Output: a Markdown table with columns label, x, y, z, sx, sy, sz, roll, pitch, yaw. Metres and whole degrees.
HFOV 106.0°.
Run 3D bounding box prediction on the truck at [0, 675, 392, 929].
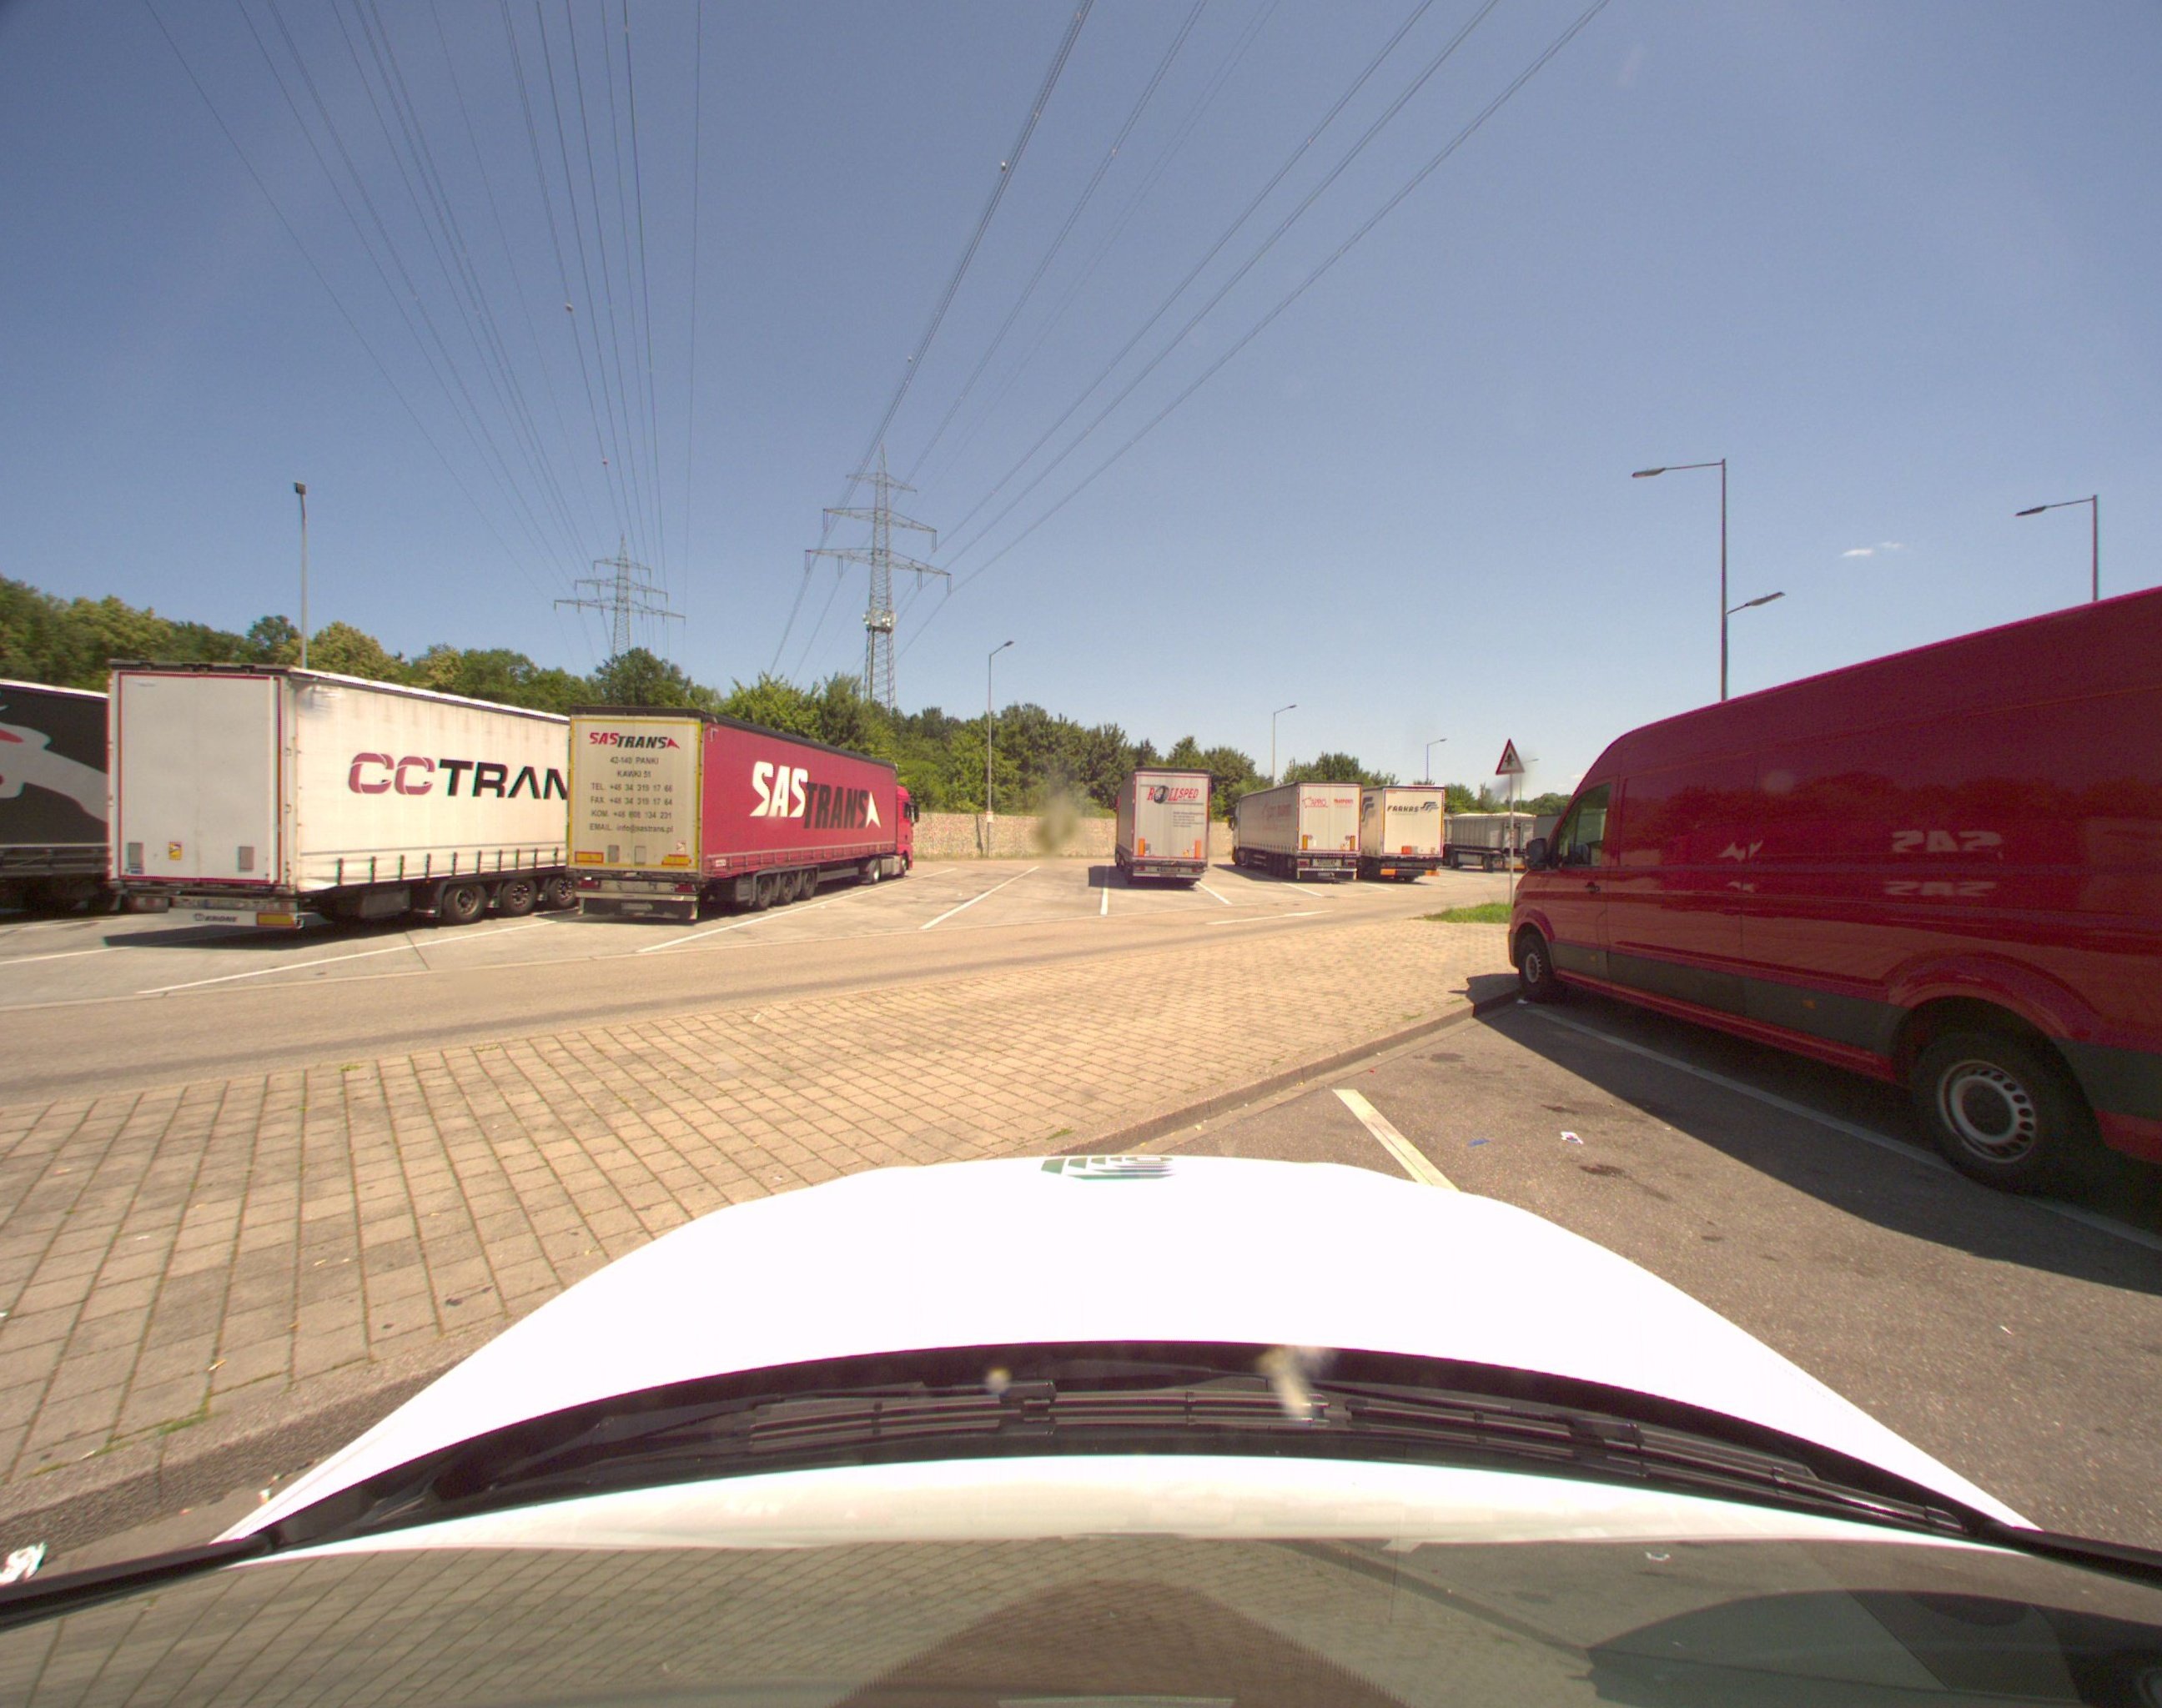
| label | x | y | z | sx | sy | sz | roll | pitch | yaw |
| --- | --- | --- | --- | --- | --- | --- | --- | --- | --- |
| truck | -18.555 | -0.938 | 15.837 | 2.696 | 4.070 | 8.694 | 1 | 2 | 2 |

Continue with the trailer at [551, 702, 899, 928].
| label | x | y | z | sx | sy | sz | roll | pitch | yaw |
| --- | --- | --- | --- | --- | --- | --- | --- | --- | --- |
| trailer | -8.052 | -0.928 | 21.734 | 2.811 | 4.070 | 13.770 | 1 | 2 | 2 |

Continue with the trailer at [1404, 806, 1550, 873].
| label | x | y | z | sx | sy | sz | roll | pitch | yaw |
| --- | --- | --- | --- | --- | --- | --- | --- | --- | --- |
| trailer | 24.433 | -1.002 | 51.509 | 2.847 | 3.599 | 13.770 | 1 | 2 | 2 |

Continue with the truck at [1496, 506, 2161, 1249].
| label | x | y | z | sx | sy | sz | roll | pitch | yaw |
| --- | --- | --- | --- | --- | --- | --- | --- | --- | --- |
| truck | 5.137 | 0.080 | 5.461 | 2.001 | 2.651 | 6.466 | -1 | 0 | 6 |

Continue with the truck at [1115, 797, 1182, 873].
| label | x | y | z | sx | sy | sz | roll | pitch | yaw |
| --- | --- | --- | --- | --- | --- | --- | --- | --- | --- |
| truck | 3.132 | -0.944 | 39.420 | 2.855 | 3.362 | 5.977 | 1 | 2 | 2 |

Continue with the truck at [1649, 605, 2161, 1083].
| label | x | y | z | sx | sy | sz | roll | pitch | yaw |
| --- | --- | --- | --- | --- | --- | --- | --- | --- | --- |
| truck | 7.997 | -0.070 | 6.894 | 2.406 | 2.906 | 6.466 | -1 | 0 | 6 |

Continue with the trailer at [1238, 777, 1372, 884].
| label | x | y | z | sx | sy | sz | roll | pitch | yaw |
| --- | --- | --- | --- | --- | --- | --- | --- | --- | --- |
| trailer | 9.973 | -1.125 | 38.309 | 2.847 | 4.109 | 13.770 | 1 | 2 | 2 |

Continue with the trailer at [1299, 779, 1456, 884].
| label | x | y | z | sx | sy | sz | roll | pitch | yaw |
| --- | --- | --- | --- | --- | --- | --- | --- | --- | --- |
| trailer | 13.602 | -1.100 | 39.233 | 2.847 | 4.109 | 13.770 | 1 | 2 | 2 |

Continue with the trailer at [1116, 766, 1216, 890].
| label | x | y | z | sx | sy | sz | roll | pitch | yaw |
| --- | --- | --- | --- | --- | --- | --- | --- | --- | --- |
| trailer | 3.042 | -1.052 | 33.217 | 2.848 | 3.971 | 13.767 | 1 | 2 | 1 |

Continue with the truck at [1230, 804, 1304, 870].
| label | x | y | z | sx | sy | sz | roll | pitch | yaw |
| --- | --- | --- | --- | --- | --- | --- | --- | --- | --- |
| truck | 10.171 | -0.984 | 45.073 | 2.855 | 3.362 | 5.977 | 1 | 2 | 2 |

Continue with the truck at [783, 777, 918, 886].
| label | x | y | z | sx | sy | sz | roll | pitch | yaw |
| --- | --- | --- | --- | --- | --- | --- | --- | --- | --- |
| truck | -7.838 | -0.797 | 28.551 | 2.801 | 3.362 | 5.977 | 1 | 2 | 2 |

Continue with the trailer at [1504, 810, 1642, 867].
| label | x | y | z | sx | sy | sz | roll | pitch | yaw |
| --- | --- | --- | --- | --- | --- | --- | --- | --- | --- |
| trailer | 38.213 | -1.307 | 64.191 | 2.847 | 3.904 | 13.770 | 1 | 2 | 2 |

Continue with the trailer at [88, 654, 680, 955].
| label | x | y | z | sx | sy | sz | roll | pitch | yaw |
| --- | --- | --- | --- | --- | --- | --- | --- | --- | --- |
| trailer | -12.166 | -0.841 | 16.430 | 2.696 | 4.101 | 10.395 | 1 | 2 | 2 |

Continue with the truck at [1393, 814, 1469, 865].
| label | x | y | z | sx | sy | sz | roll | pitch | yaw |
| --- | --- | --- | --- | --- | --- | --- | --- | --- | --- |
| truck | 24.618 | -1.091 | 57.605 | 2.855 | 3.362 | 5.977 | 1 | 2 | 2 |
